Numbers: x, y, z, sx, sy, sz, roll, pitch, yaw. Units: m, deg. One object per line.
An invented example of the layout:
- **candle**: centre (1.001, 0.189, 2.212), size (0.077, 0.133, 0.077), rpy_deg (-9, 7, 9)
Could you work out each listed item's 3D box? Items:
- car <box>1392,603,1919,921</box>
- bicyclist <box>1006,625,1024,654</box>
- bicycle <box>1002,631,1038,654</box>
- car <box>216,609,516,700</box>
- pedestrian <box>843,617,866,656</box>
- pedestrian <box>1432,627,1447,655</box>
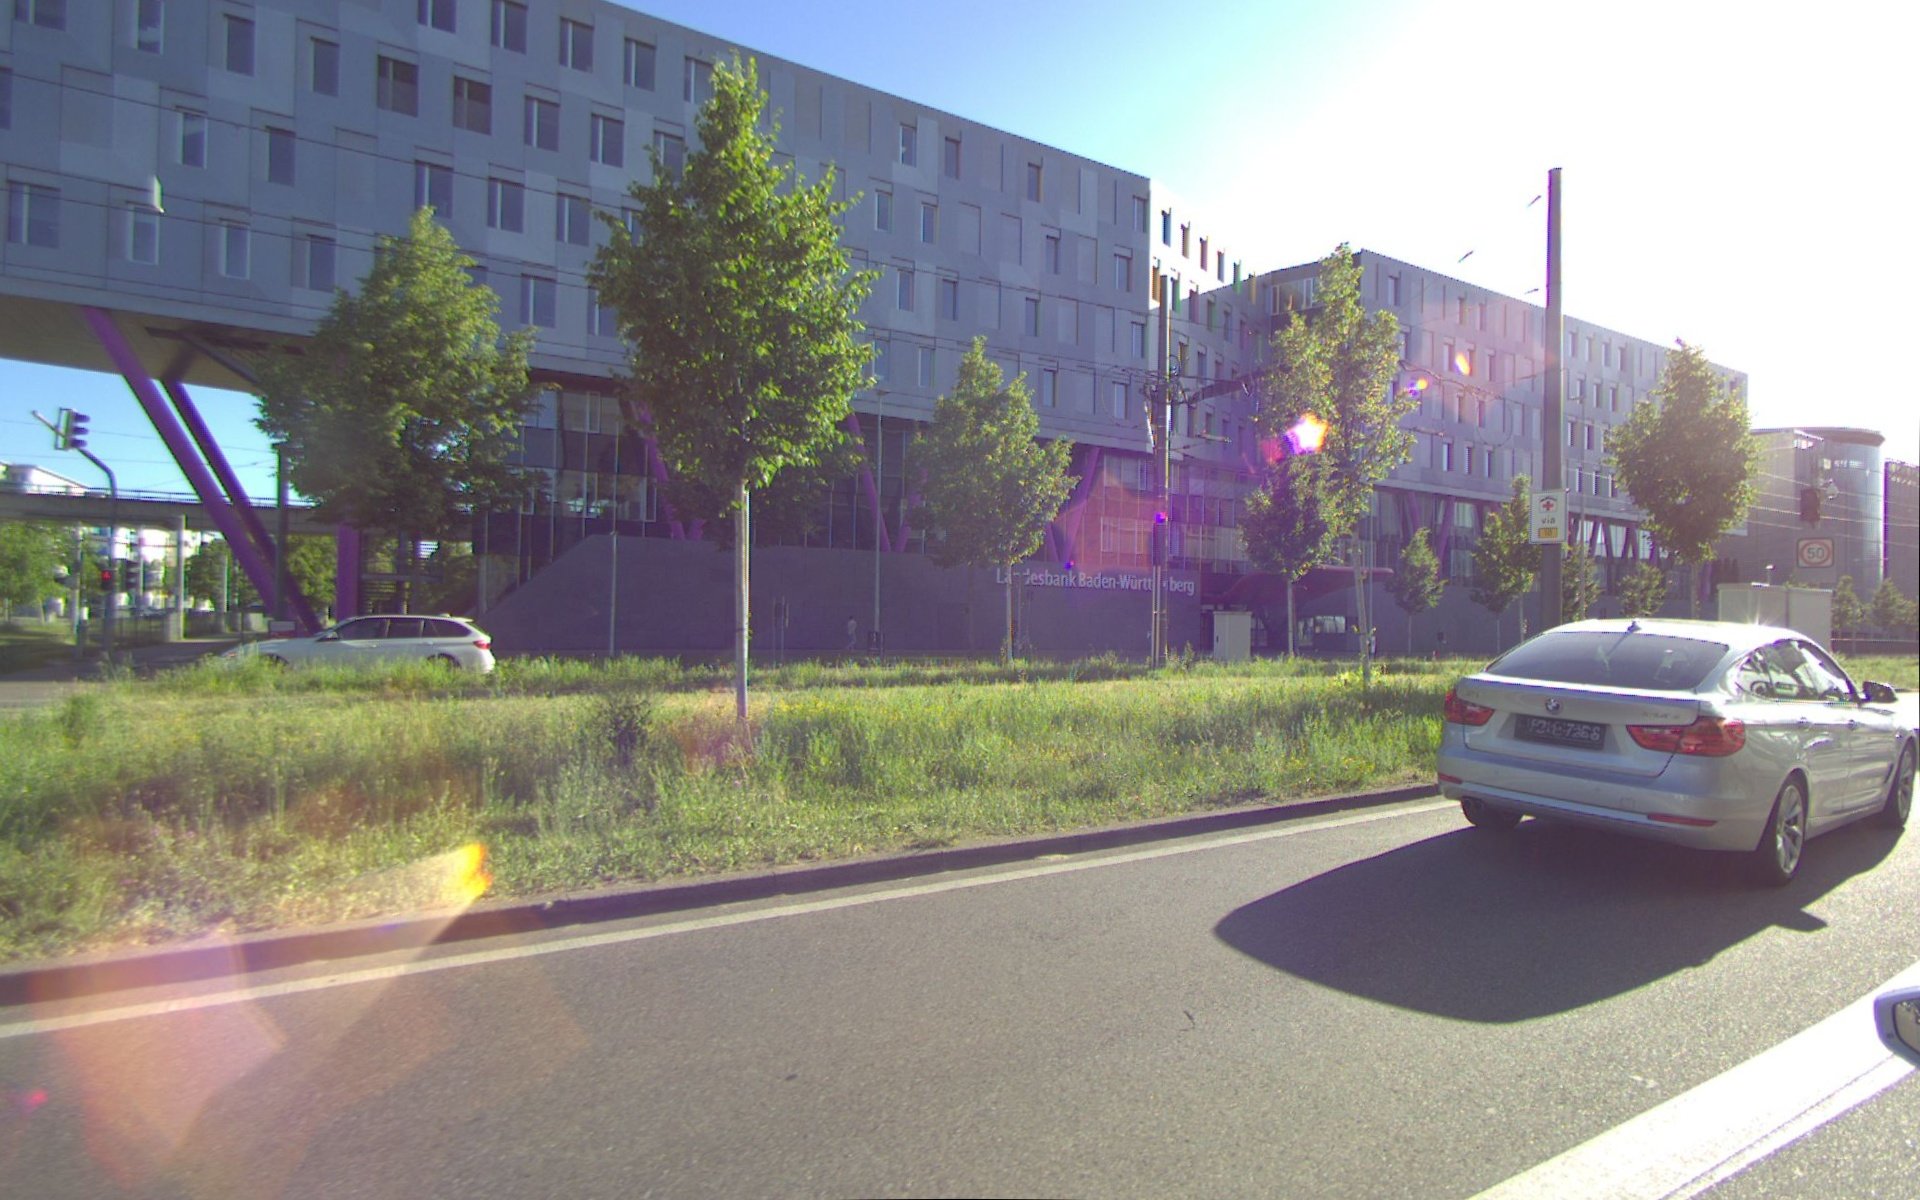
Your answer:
- **car**: centre (5.279, 0.873, 7.212), size (4.864, 1.547, 1.785), rpy_deg (2, 0, -37)
- **bicyclist**: centre (2.907, 2.069, 53.160), size (0.754, 1.515, 0.556), rpy_deg (1, -1, -31)
- **bicycle**: centre (3.148, 2.236, 52.813), size (1.953, 1.188, 0.517), rpy_deg (2, -1, -31)
- **car**: centre (-11.444, 1.012, 19.675), size (4.818, 1.583, 1.983), rpy_deg (1, -1, -32)
- **pedestrian**: centre (-5.006, 1.725, 47.804), size (0.861, 1.846, 0.717), rpy_deg (1, -1, -30)
- **pedestrian**: centre (35.030, 3.010, 73.361), size (0.681, 2.040, 0.732), rpy_deg (2, -1, -30)
